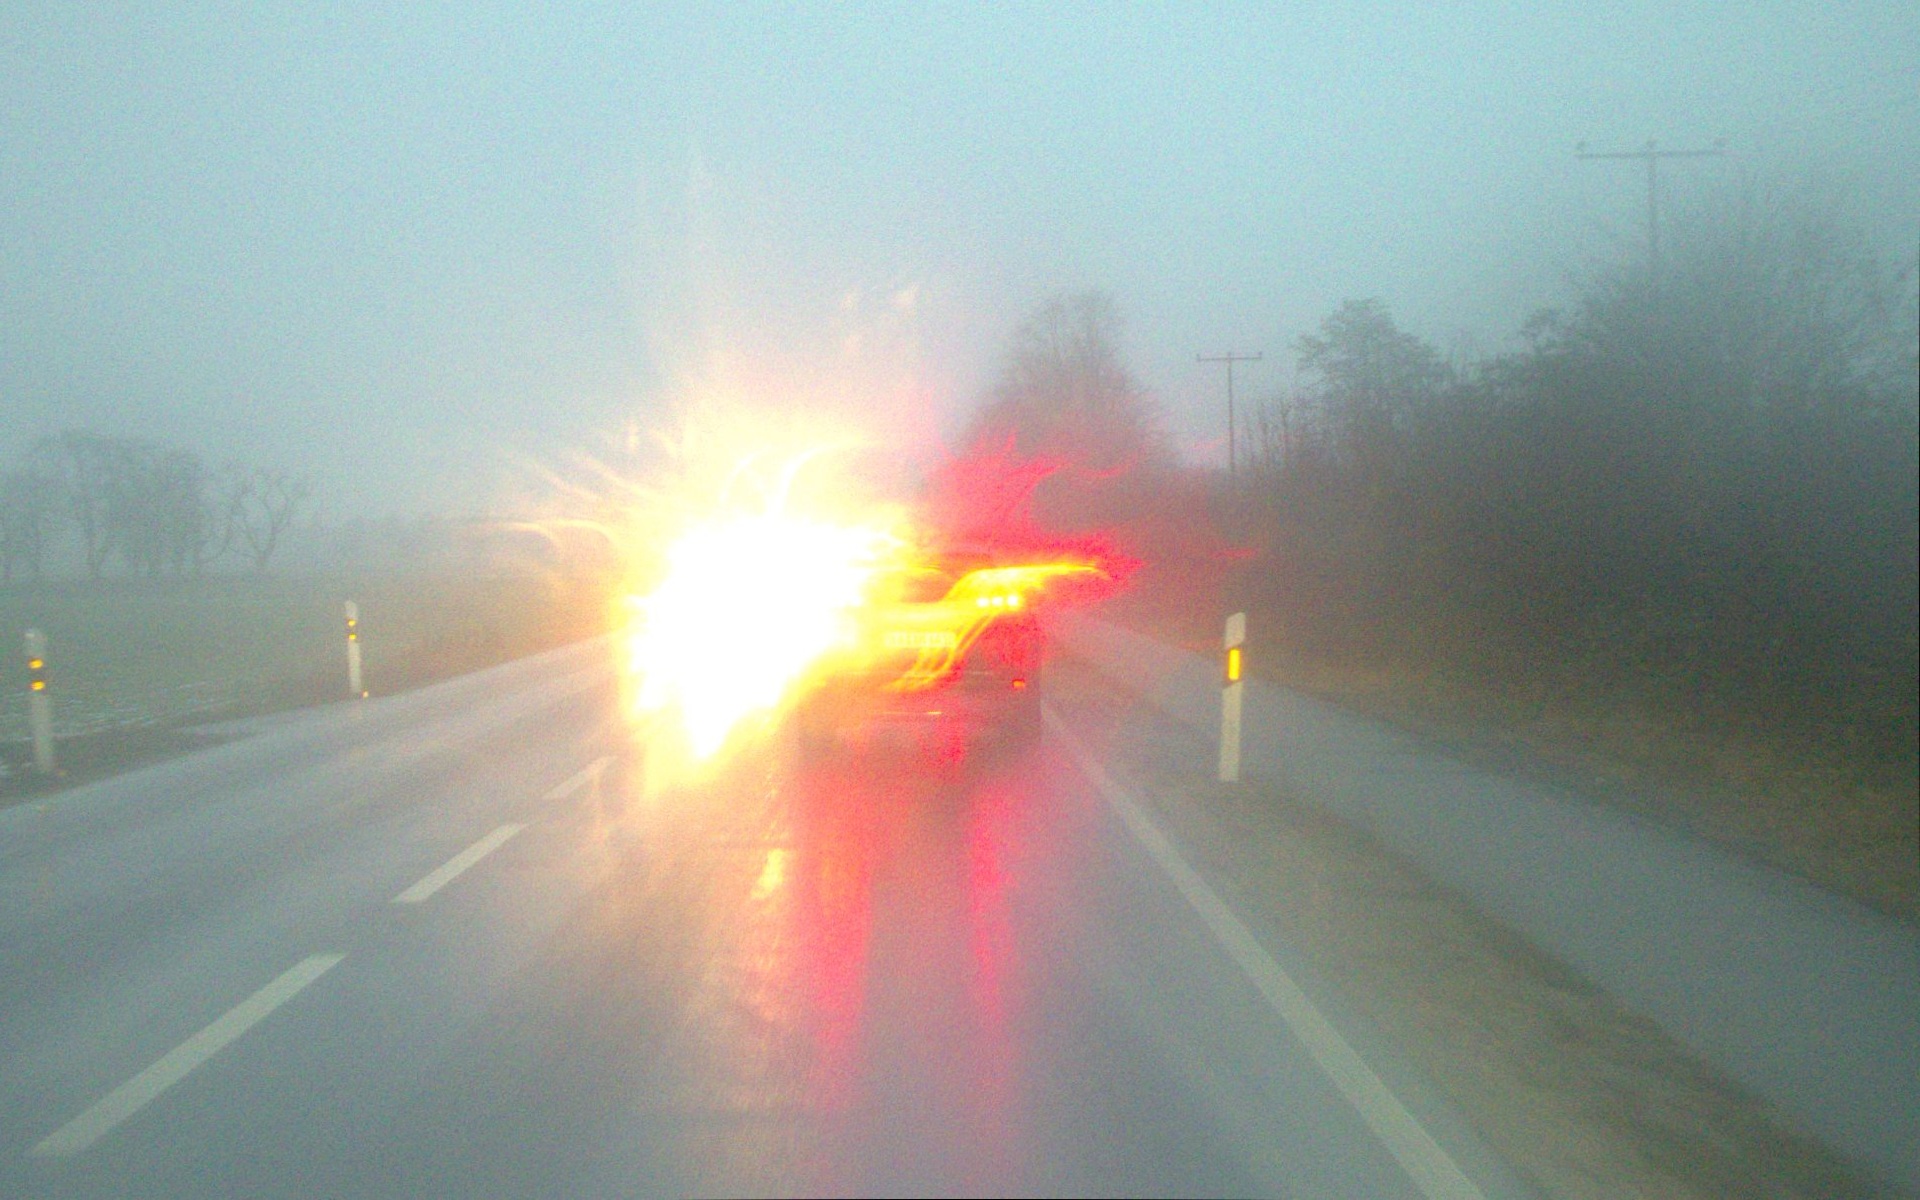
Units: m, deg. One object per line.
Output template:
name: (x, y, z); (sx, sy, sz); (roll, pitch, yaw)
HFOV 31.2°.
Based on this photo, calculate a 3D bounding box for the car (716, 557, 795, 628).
car: (-5.107, -0.209, 86.118); (1.795, 1.680, 4.187); (-2, 1, -2)

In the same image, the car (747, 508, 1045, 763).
car: (-0.479, 0.277, 27.033); (2.120, 1.814, 4.980); (0, -1, -1)
